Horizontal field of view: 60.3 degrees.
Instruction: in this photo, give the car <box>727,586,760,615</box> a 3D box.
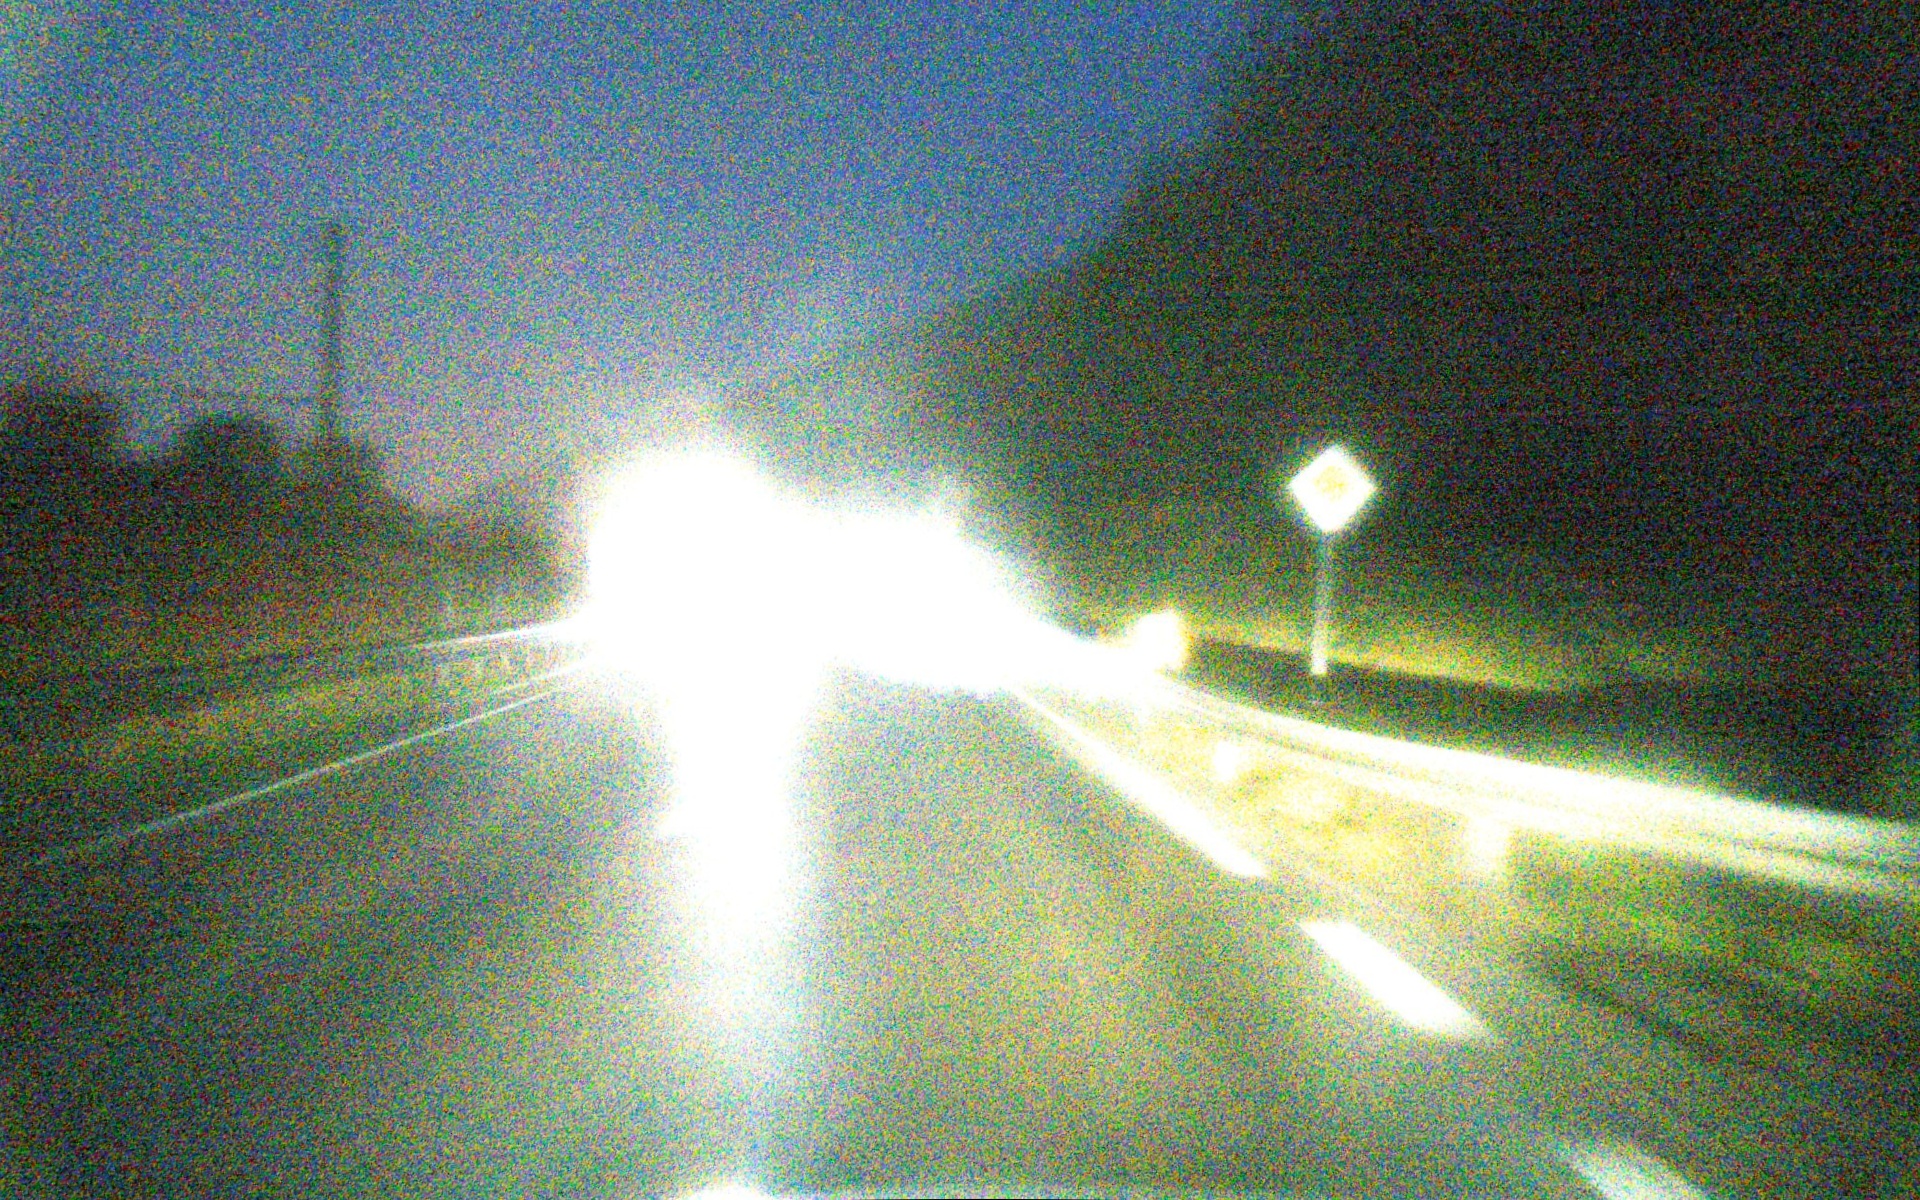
[{"bbox_3d":[-11.629,0.018,88.758,1.670,1.532,3.677,0,0,-8],"label":"car"}]
